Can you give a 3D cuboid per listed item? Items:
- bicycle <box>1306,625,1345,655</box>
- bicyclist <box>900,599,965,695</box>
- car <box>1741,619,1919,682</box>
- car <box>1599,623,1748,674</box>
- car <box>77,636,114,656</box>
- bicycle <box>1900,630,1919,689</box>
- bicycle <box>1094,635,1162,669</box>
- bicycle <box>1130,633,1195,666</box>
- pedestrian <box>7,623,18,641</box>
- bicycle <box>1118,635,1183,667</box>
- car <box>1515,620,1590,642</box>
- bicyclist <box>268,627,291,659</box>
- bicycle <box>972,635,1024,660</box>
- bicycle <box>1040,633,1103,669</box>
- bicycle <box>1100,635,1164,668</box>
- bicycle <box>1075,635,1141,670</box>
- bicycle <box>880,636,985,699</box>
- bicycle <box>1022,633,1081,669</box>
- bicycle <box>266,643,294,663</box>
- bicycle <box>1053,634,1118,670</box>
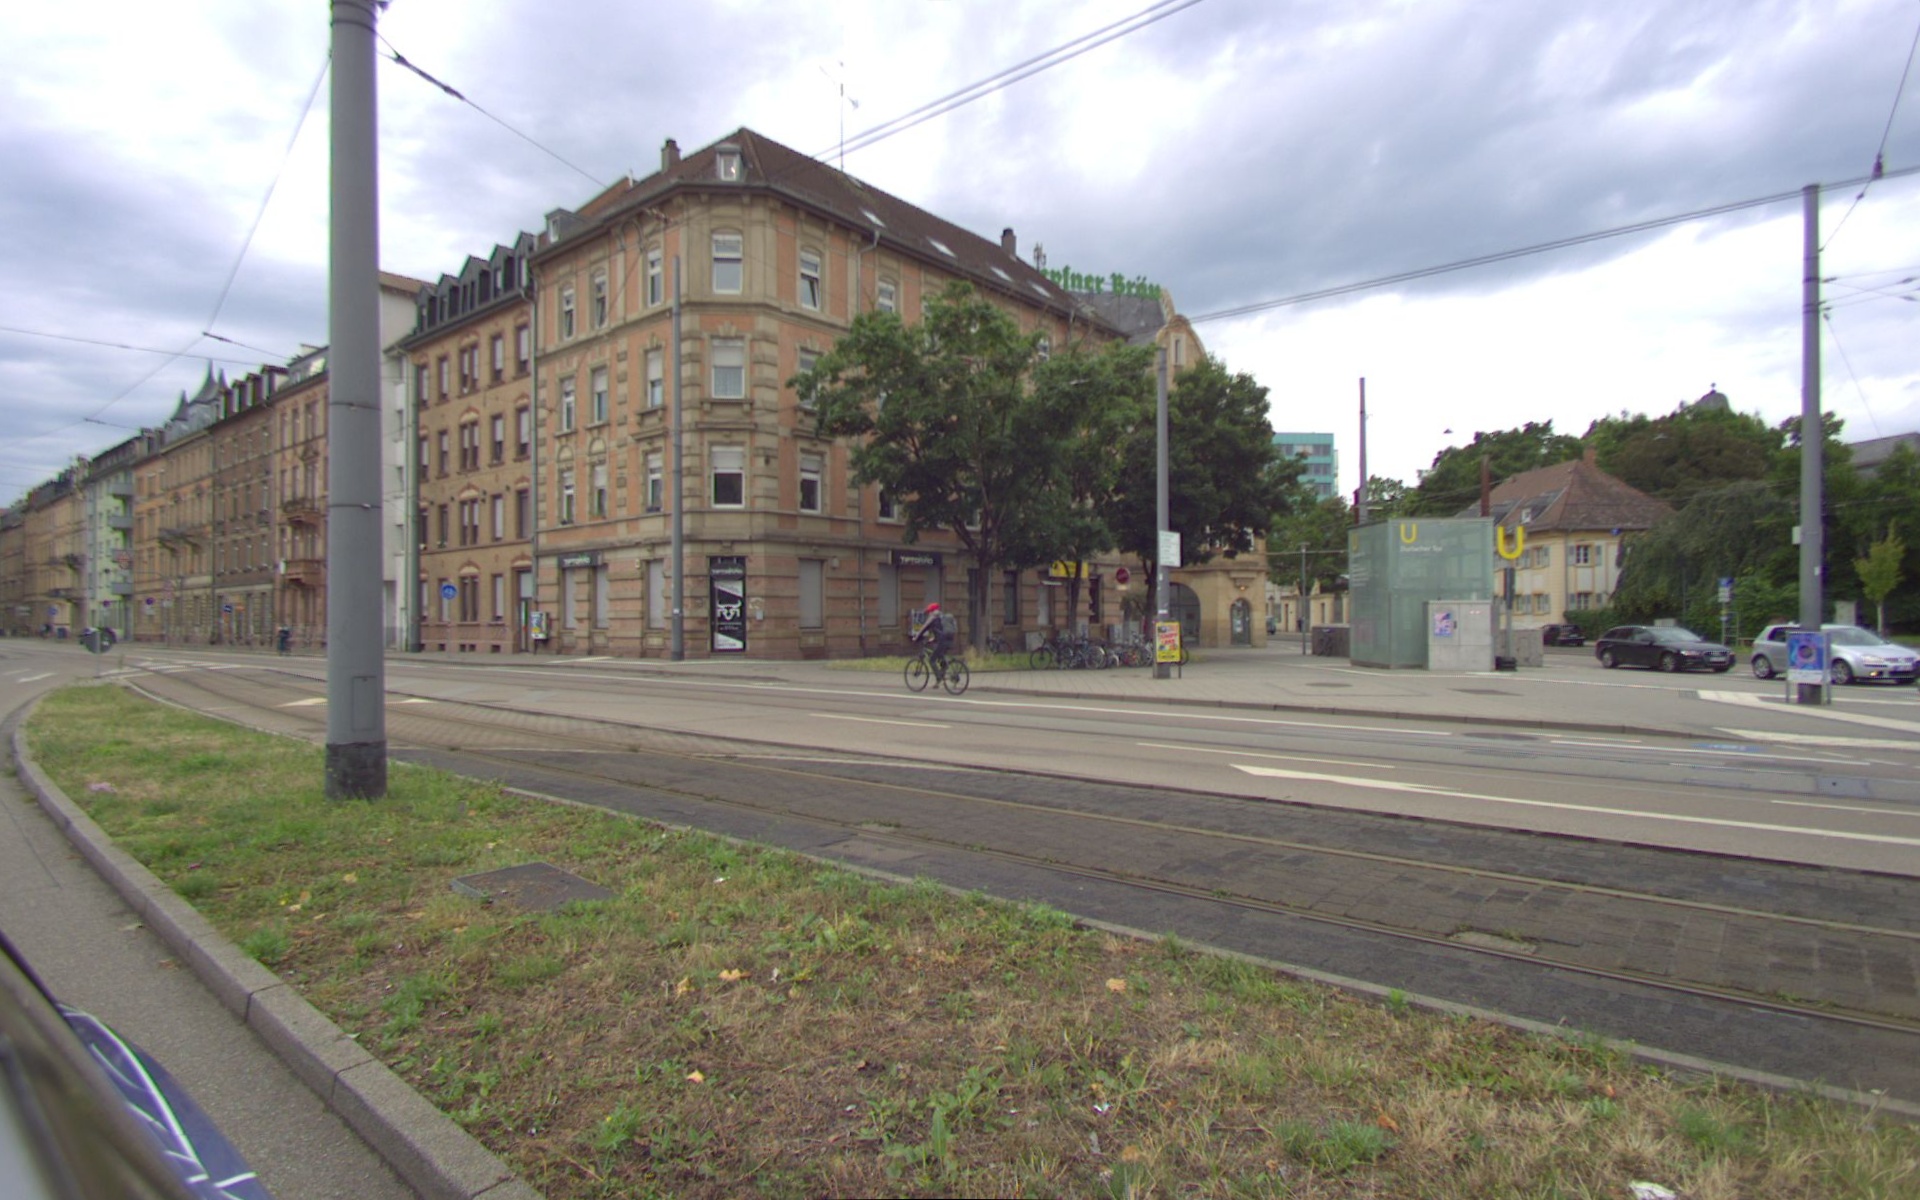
[{"bbox_3d":[14.344,1.566,39.767,0.730,1.123,2.361,-1,-1,3],"label":"bicycle"},{"bbox_3d":[-0.566,0.952,20.704,1.049,1.906,0.820,-2,-3,43],"label":"bicyclist"},{"bbox_3d":[22.293,1.218,25.766,1.739,1.465,4.156,-1,-1,4],"label":"car"},{"bbox_3d":[22.377,1.476,31.953,1.673,1.460,4.143,-1,-1,-1],"label":"car"},{"bbox_3d":[-68.263,3.619,79.878,3.828,1.491,1.828,-2,-1,44],"label":"car"},{"bbox_3d":[20.348,1.229,20.347,0.845,1.217,2.197,0,-1,1],"label":"bicycle"},{"bbox_3d":[5.203,1.609,31.489,0.601,0.994,2.224,0,-1,-39],"label":"bicycle"},{"bbox_3d":[6.764,1.637,33.933,0.678,1.047,2.224,0,-1,-39],"label":"bicycle"},{"bbox_3d":[-104.240,3.529,111.331,0.733,2.029,0.804,-2,-2,41],"label":"pedestrian"},{"bbox_3d":[6.162,1.642,32.809,0.576,0.994,2.224,0,-1,-39],"label":"bicycle"},{"bbox_3d":[36.051,1.884,61.704,1.904,1.298,4.006,0,-1,-7],"label":"car"},{"bbox_3d":[-32.724,2.046,48.640,0.941,1.506,0.655,-2,-1,37],"label":"bicyclist"},{"bbox_3d":[1.404,1.771,37.640,1.989,0.921,0.653,-3,-3,42],"label":"bicycle"},{"bbox_3d":[3.263,1.491,29.835,0.513,0.994,2.041,0,-1,-39],"label":"bicycle"},{"bbox_3d":[5.437,1.606,32.147,0.492,0.994,2.224,0,-1,-39],"label":"bicycle"},{"bbox_3d":[4.434,1.561,30.492,0.492,0.994,2.224,0,-1,-39],"label":"bicycle"},{"bbox_3d":[-0.589,1.347,20.707,2.234,1.217,0.815,-2,-3,43],"label":"bicycle"},{"bbox_3d":[2.647,1.477,29.409,0.492,0.994,1.872,0,-1,-41],"label":"bicycle"},{"bbox_3d":[-32.691,2.542,48.623,1.716,0.922,0.600,-2,-1,37],"label":"bicycle"},{"bbox_3d":[3.716,1.531,30.161,0.472,1.014,2.224,0,-1,-39],"label":"bicycle"}]
